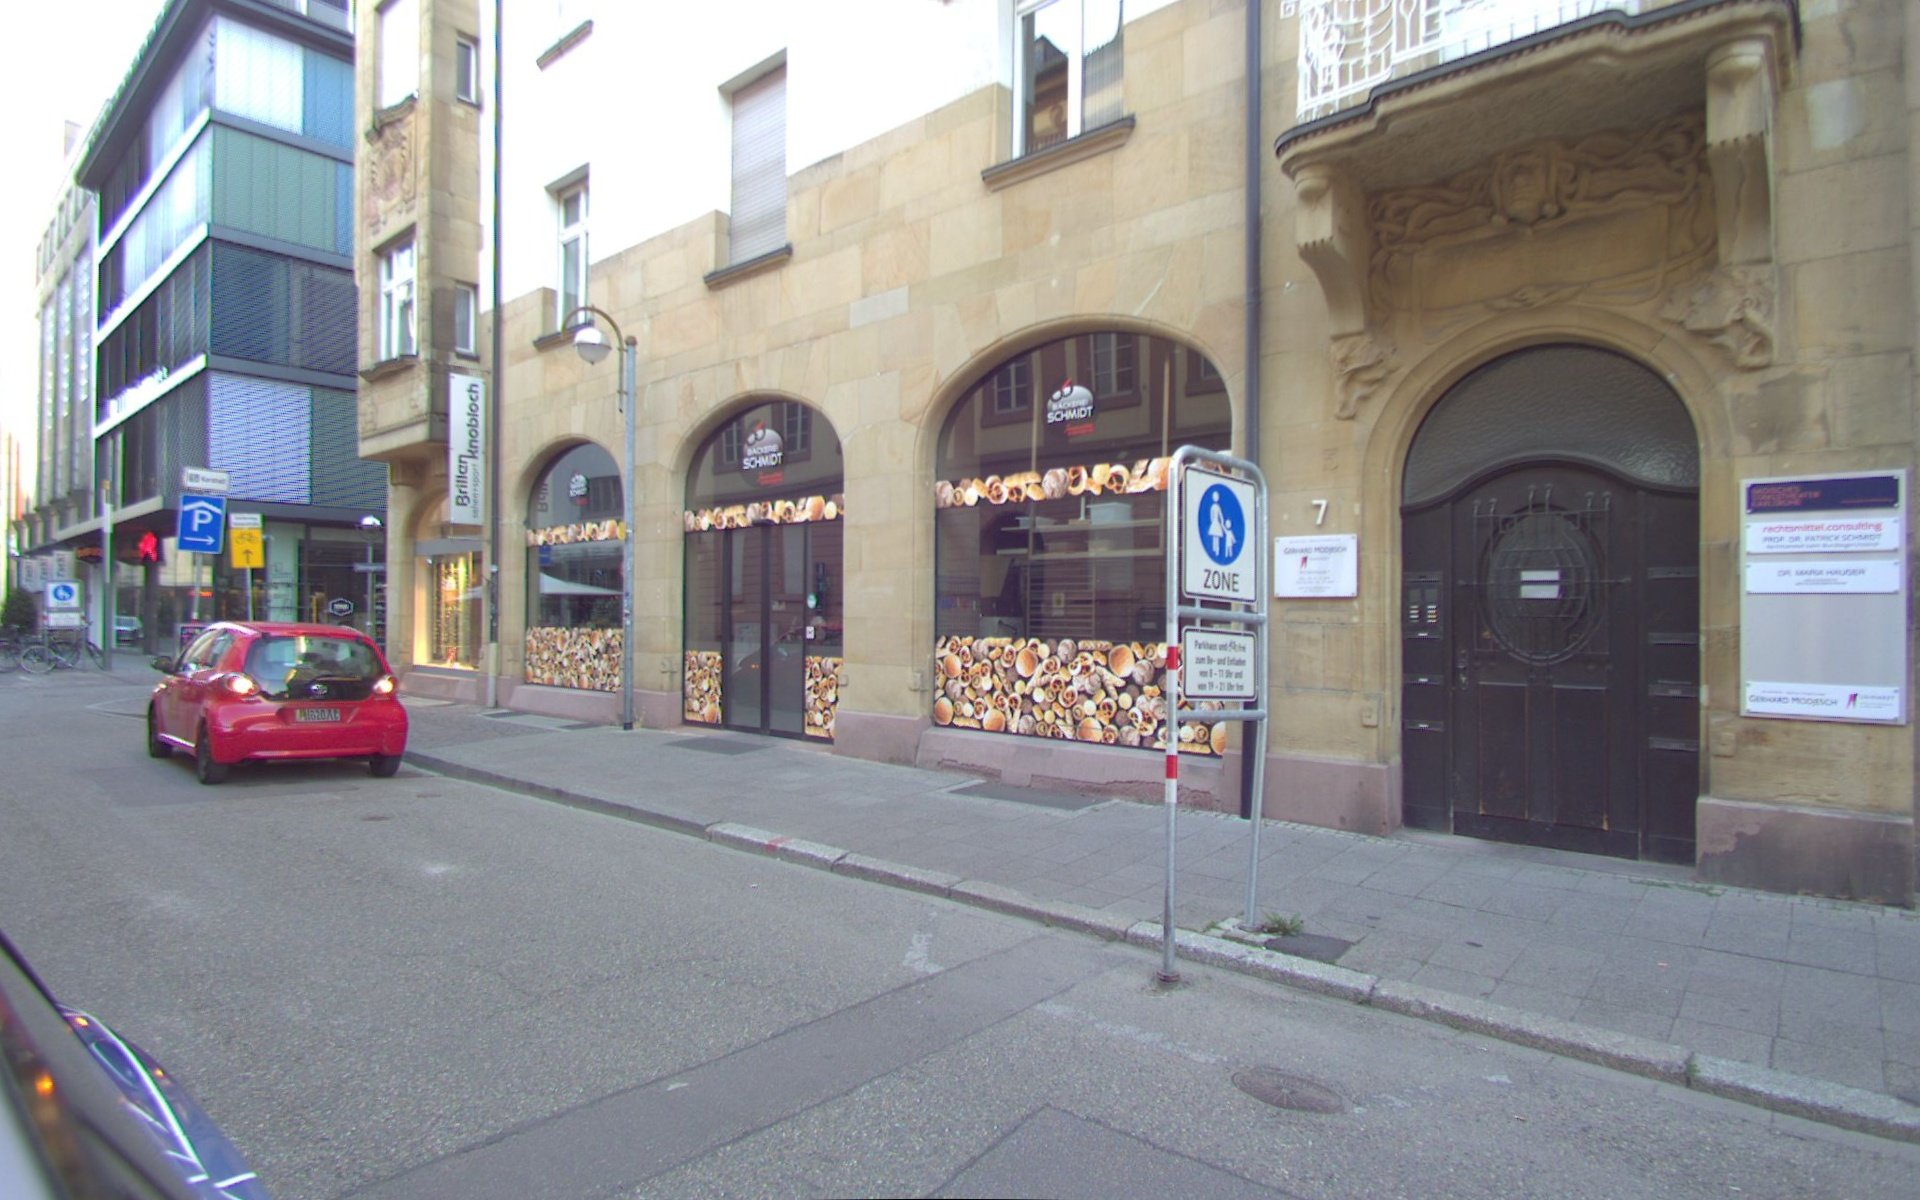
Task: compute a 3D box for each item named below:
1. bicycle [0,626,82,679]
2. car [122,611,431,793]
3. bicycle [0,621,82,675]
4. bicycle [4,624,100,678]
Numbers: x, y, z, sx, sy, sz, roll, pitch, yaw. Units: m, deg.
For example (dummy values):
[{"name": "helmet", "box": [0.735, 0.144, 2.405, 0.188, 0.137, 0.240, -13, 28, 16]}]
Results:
[{"name": "bicycle", "box": [-23.022, 1.298, 25.034, 0.517, 1.190, 1.878, -3, -1, 40]}, {"name": "car", "box": [-7.046, 0.923, 10.273, 3.931, 1.481, 1.639, 0, -5, 43]}, {"name": "bicycle", "box": [-24.830, 1.274, 27.105, 0.538, 1.279, 1.878, -1, 3, 42]}, {"name": "bicycle", "box": [-21.725, 1.203, 24.240, 0.509, 1.213, 1.648, -1, 0, 41]}]
